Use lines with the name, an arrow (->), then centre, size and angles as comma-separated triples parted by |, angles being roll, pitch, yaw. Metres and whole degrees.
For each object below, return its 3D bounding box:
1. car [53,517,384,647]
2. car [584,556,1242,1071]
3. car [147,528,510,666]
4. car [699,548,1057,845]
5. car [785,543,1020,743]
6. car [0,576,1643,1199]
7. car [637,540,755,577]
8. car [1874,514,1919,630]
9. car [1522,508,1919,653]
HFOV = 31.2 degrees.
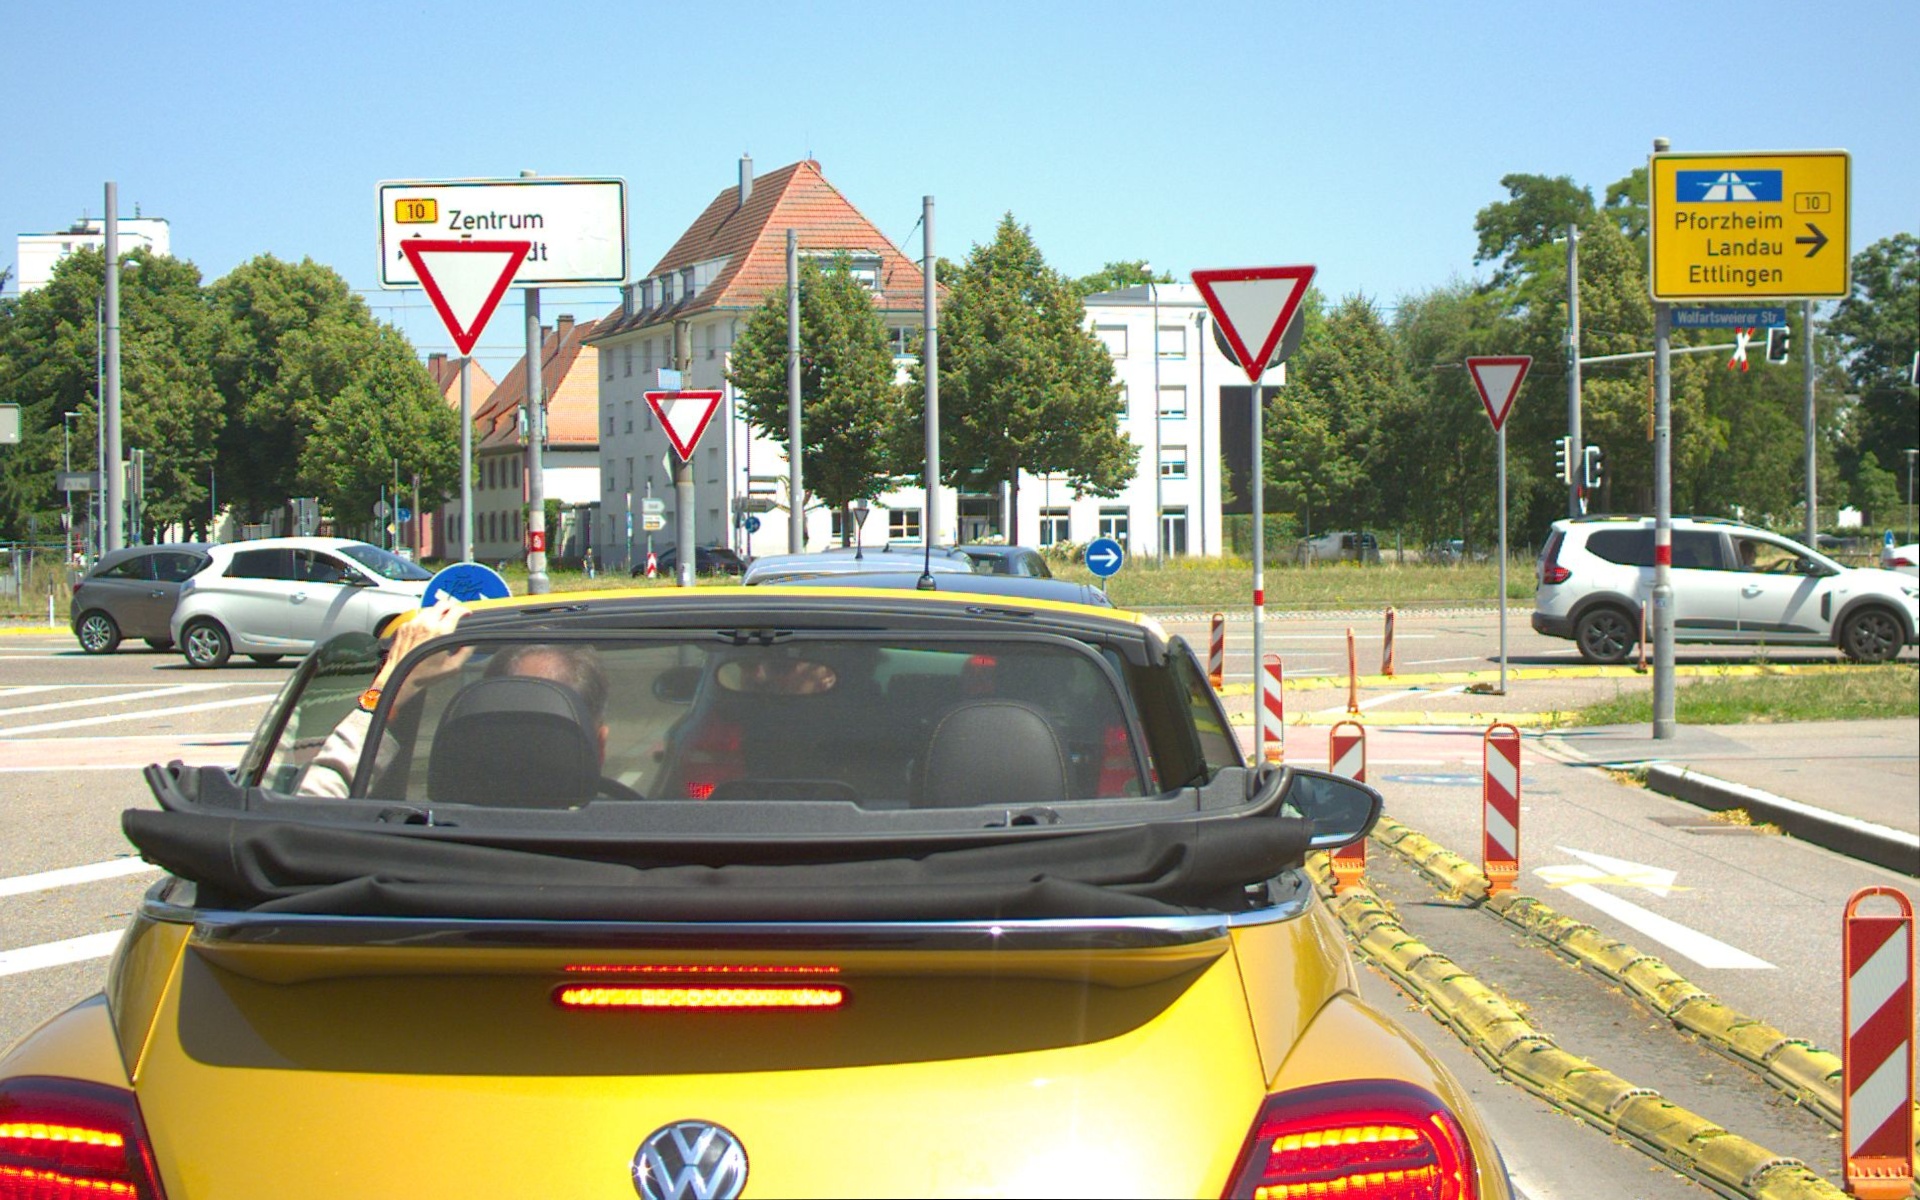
car -> -10.032, -0.242, 46.583 | 3.989, 1.491, 1.646 | -3, 0, 14
car -> -0.151, 0.577, 11.680 | 1.848, 1.437, 4.000 | 0, 1, -1
car -> -7.630, -0.049, 41.660 | 4.001, 1.614, 1.680 | 0, 1, 10
car -> -0.417, 0.439, 18.693 | 1.736, 1.437, 4.000 | 0, 1, -1
car -> -0.444, 0.289, 27.494 | 1.736, 1.472, 4.000 | 0, 1, -1
car -> -0.314, 0.693, 4.867 | 1.752, 1.417, 3.778 | 0, 1, -1
car -> -8.882, -1.399, 115.514 | 3.782, 1.232, 1.709 | 1, 1, 37
car -> 14.780, -0.367, 45.493 | 4.992, 1.504, 1.999 | 0, 1, 9
car -> 8.702, -0.237, 38.590 | 4.578, 1.561, 1.999 | 0, 1, 14
